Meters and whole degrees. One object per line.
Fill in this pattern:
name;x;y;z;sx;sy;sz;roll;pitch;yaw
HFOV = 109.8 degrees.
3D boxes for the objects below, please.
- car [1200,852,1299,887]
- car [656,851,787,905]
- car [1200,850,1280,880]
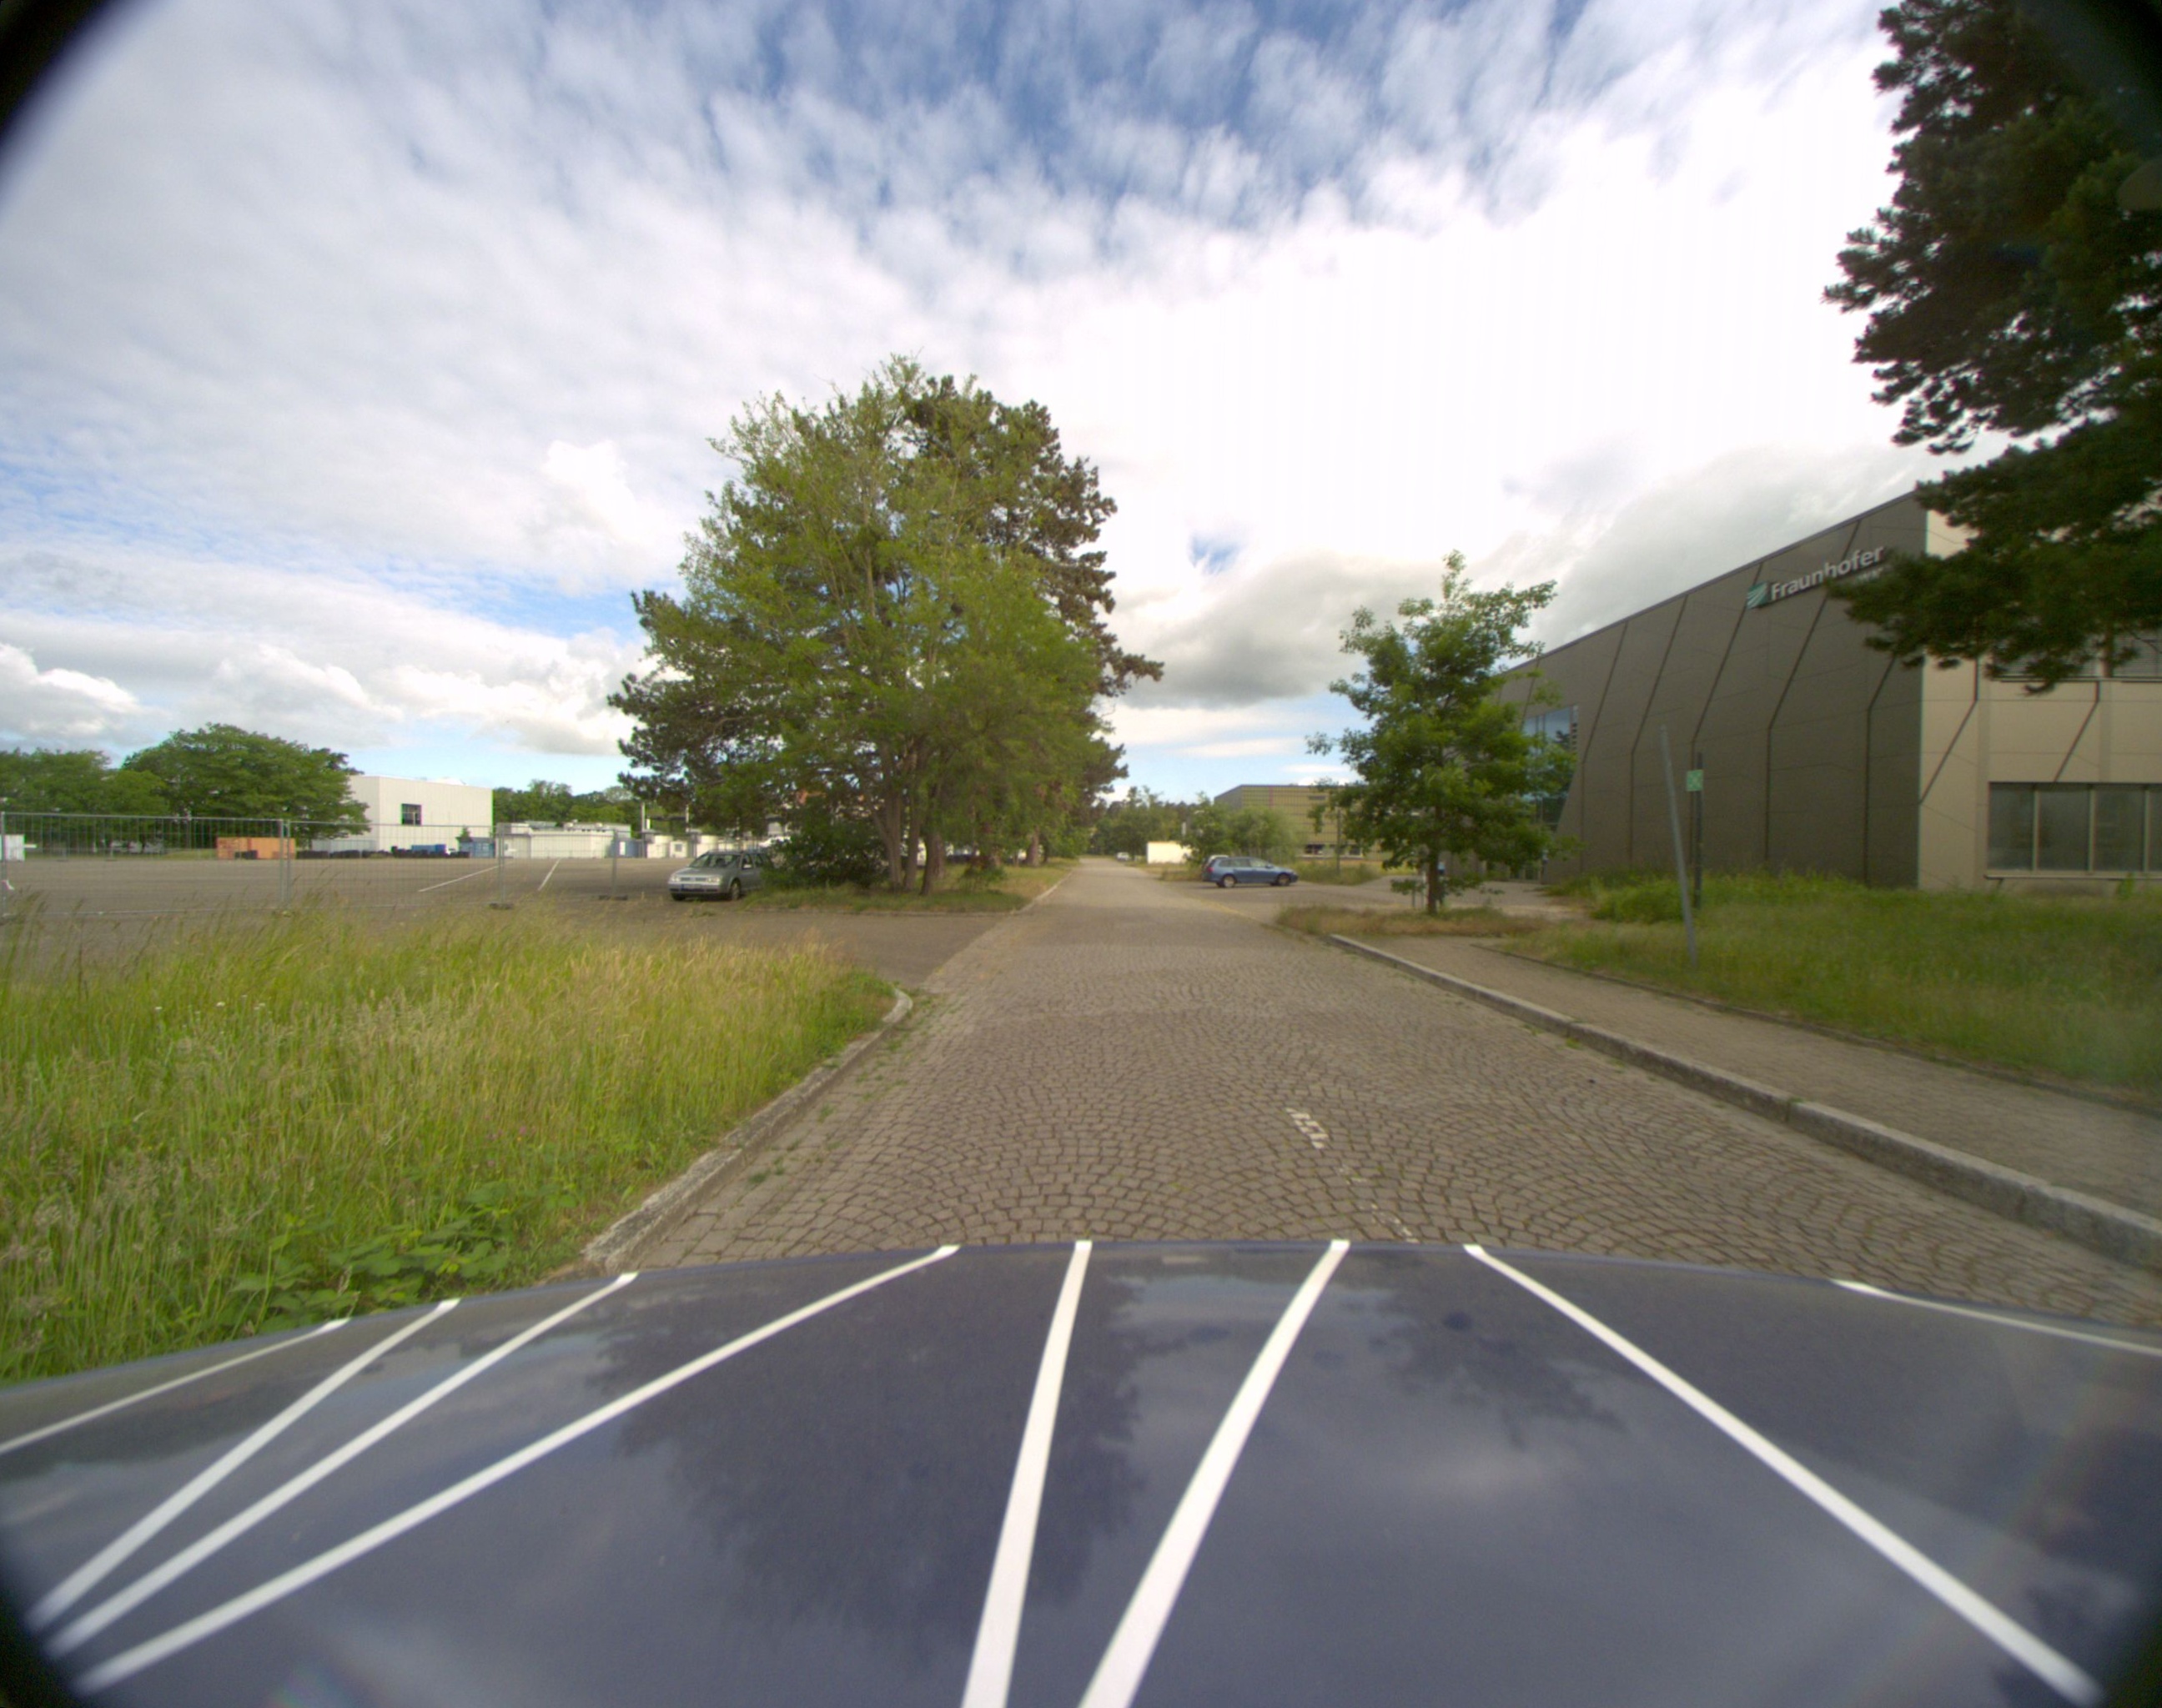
car;8.151;0.749;37.013;4.404;1.501;1.716;-2;1;-2
car;-10.598;0.653;22.817;1.759;1.440;4.327;1;1;2
car;9.227;0.632;44.341;4.400;1.537;1.842;-2;0;8
